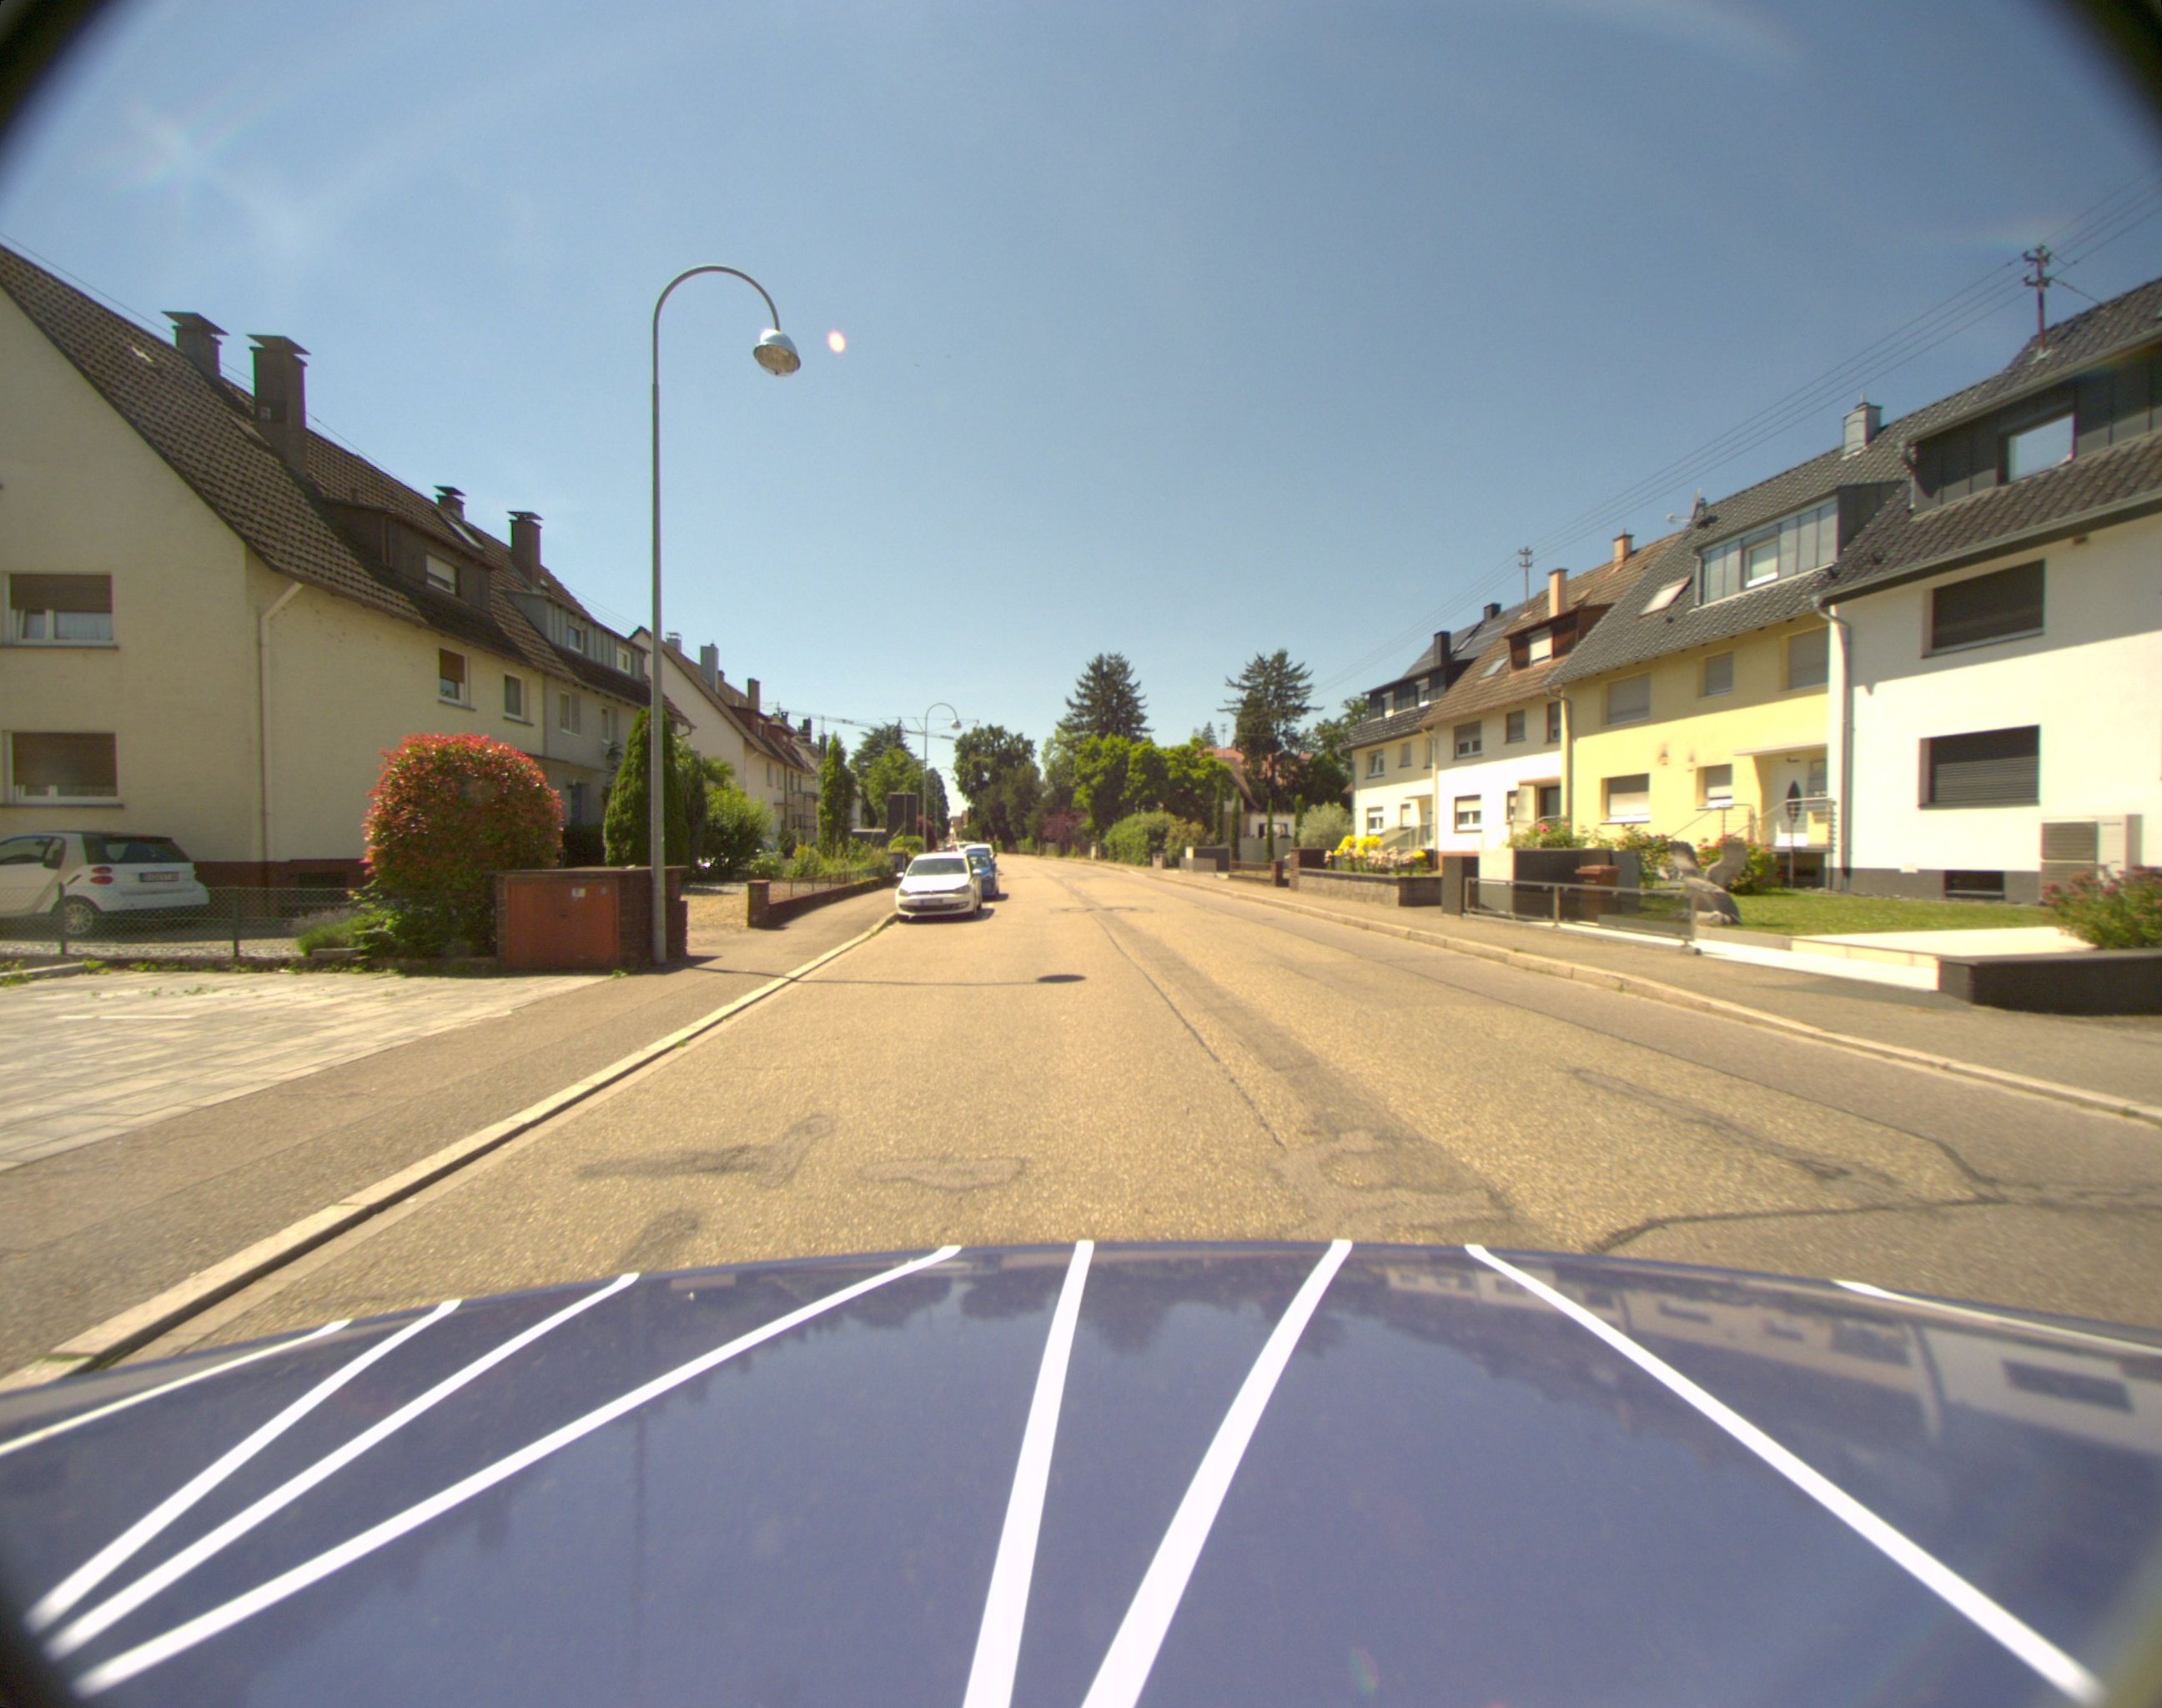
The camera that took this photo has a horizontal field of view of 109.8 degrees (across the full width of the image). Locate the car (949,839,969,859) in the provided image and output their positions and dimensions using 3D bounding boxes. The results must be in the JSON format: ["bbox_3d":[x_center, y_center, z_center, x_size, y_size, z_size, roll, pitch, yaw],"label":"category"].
[{"bbox_3d":[-11.869,-0.481,73.847,1.689,1.769,3.936,-3,2,-7],"label":"car"}]

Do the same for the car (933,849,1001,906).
[{"bbox_3d":[-3.414,0.649,23.452,1.689,1.446,4.359,-2,2,-4],"label":"car"}]

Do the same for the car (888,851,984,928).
[{"bbox_3d":[-3.199,0.725,17.412,1.689,1.447,3.737,-2,1,-4],"label":"car"}]

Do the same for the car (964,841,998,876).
[{"bbox_3d":[-5.623,0.208,42.883,1.689,1.769,3.936,-3,2,-7],"label":"car"}]

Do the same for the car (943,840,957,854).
[{"bbox_3d":[-17.929,-1.036,103.822,1.690,1.769,3.936,-3,2,-10],"label":"car"}]

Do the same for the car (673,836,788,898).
[{"bbox_3d":[-11.459,0.333,25.208,1.922,1.840,4.527,-2,2,-4],"label":"car"}]

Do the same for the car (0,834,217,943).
[{"bbox_3d":[-15.716,0.486,11.548,3.158,1.543,1.569,1,1,-6],"label":"car"}]

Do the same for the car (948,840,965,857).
[{"bbox_3d":[-14.085,-0.684,86.195,1.689,1.769,3.936,-3,2,-7],"label":"car"}]
